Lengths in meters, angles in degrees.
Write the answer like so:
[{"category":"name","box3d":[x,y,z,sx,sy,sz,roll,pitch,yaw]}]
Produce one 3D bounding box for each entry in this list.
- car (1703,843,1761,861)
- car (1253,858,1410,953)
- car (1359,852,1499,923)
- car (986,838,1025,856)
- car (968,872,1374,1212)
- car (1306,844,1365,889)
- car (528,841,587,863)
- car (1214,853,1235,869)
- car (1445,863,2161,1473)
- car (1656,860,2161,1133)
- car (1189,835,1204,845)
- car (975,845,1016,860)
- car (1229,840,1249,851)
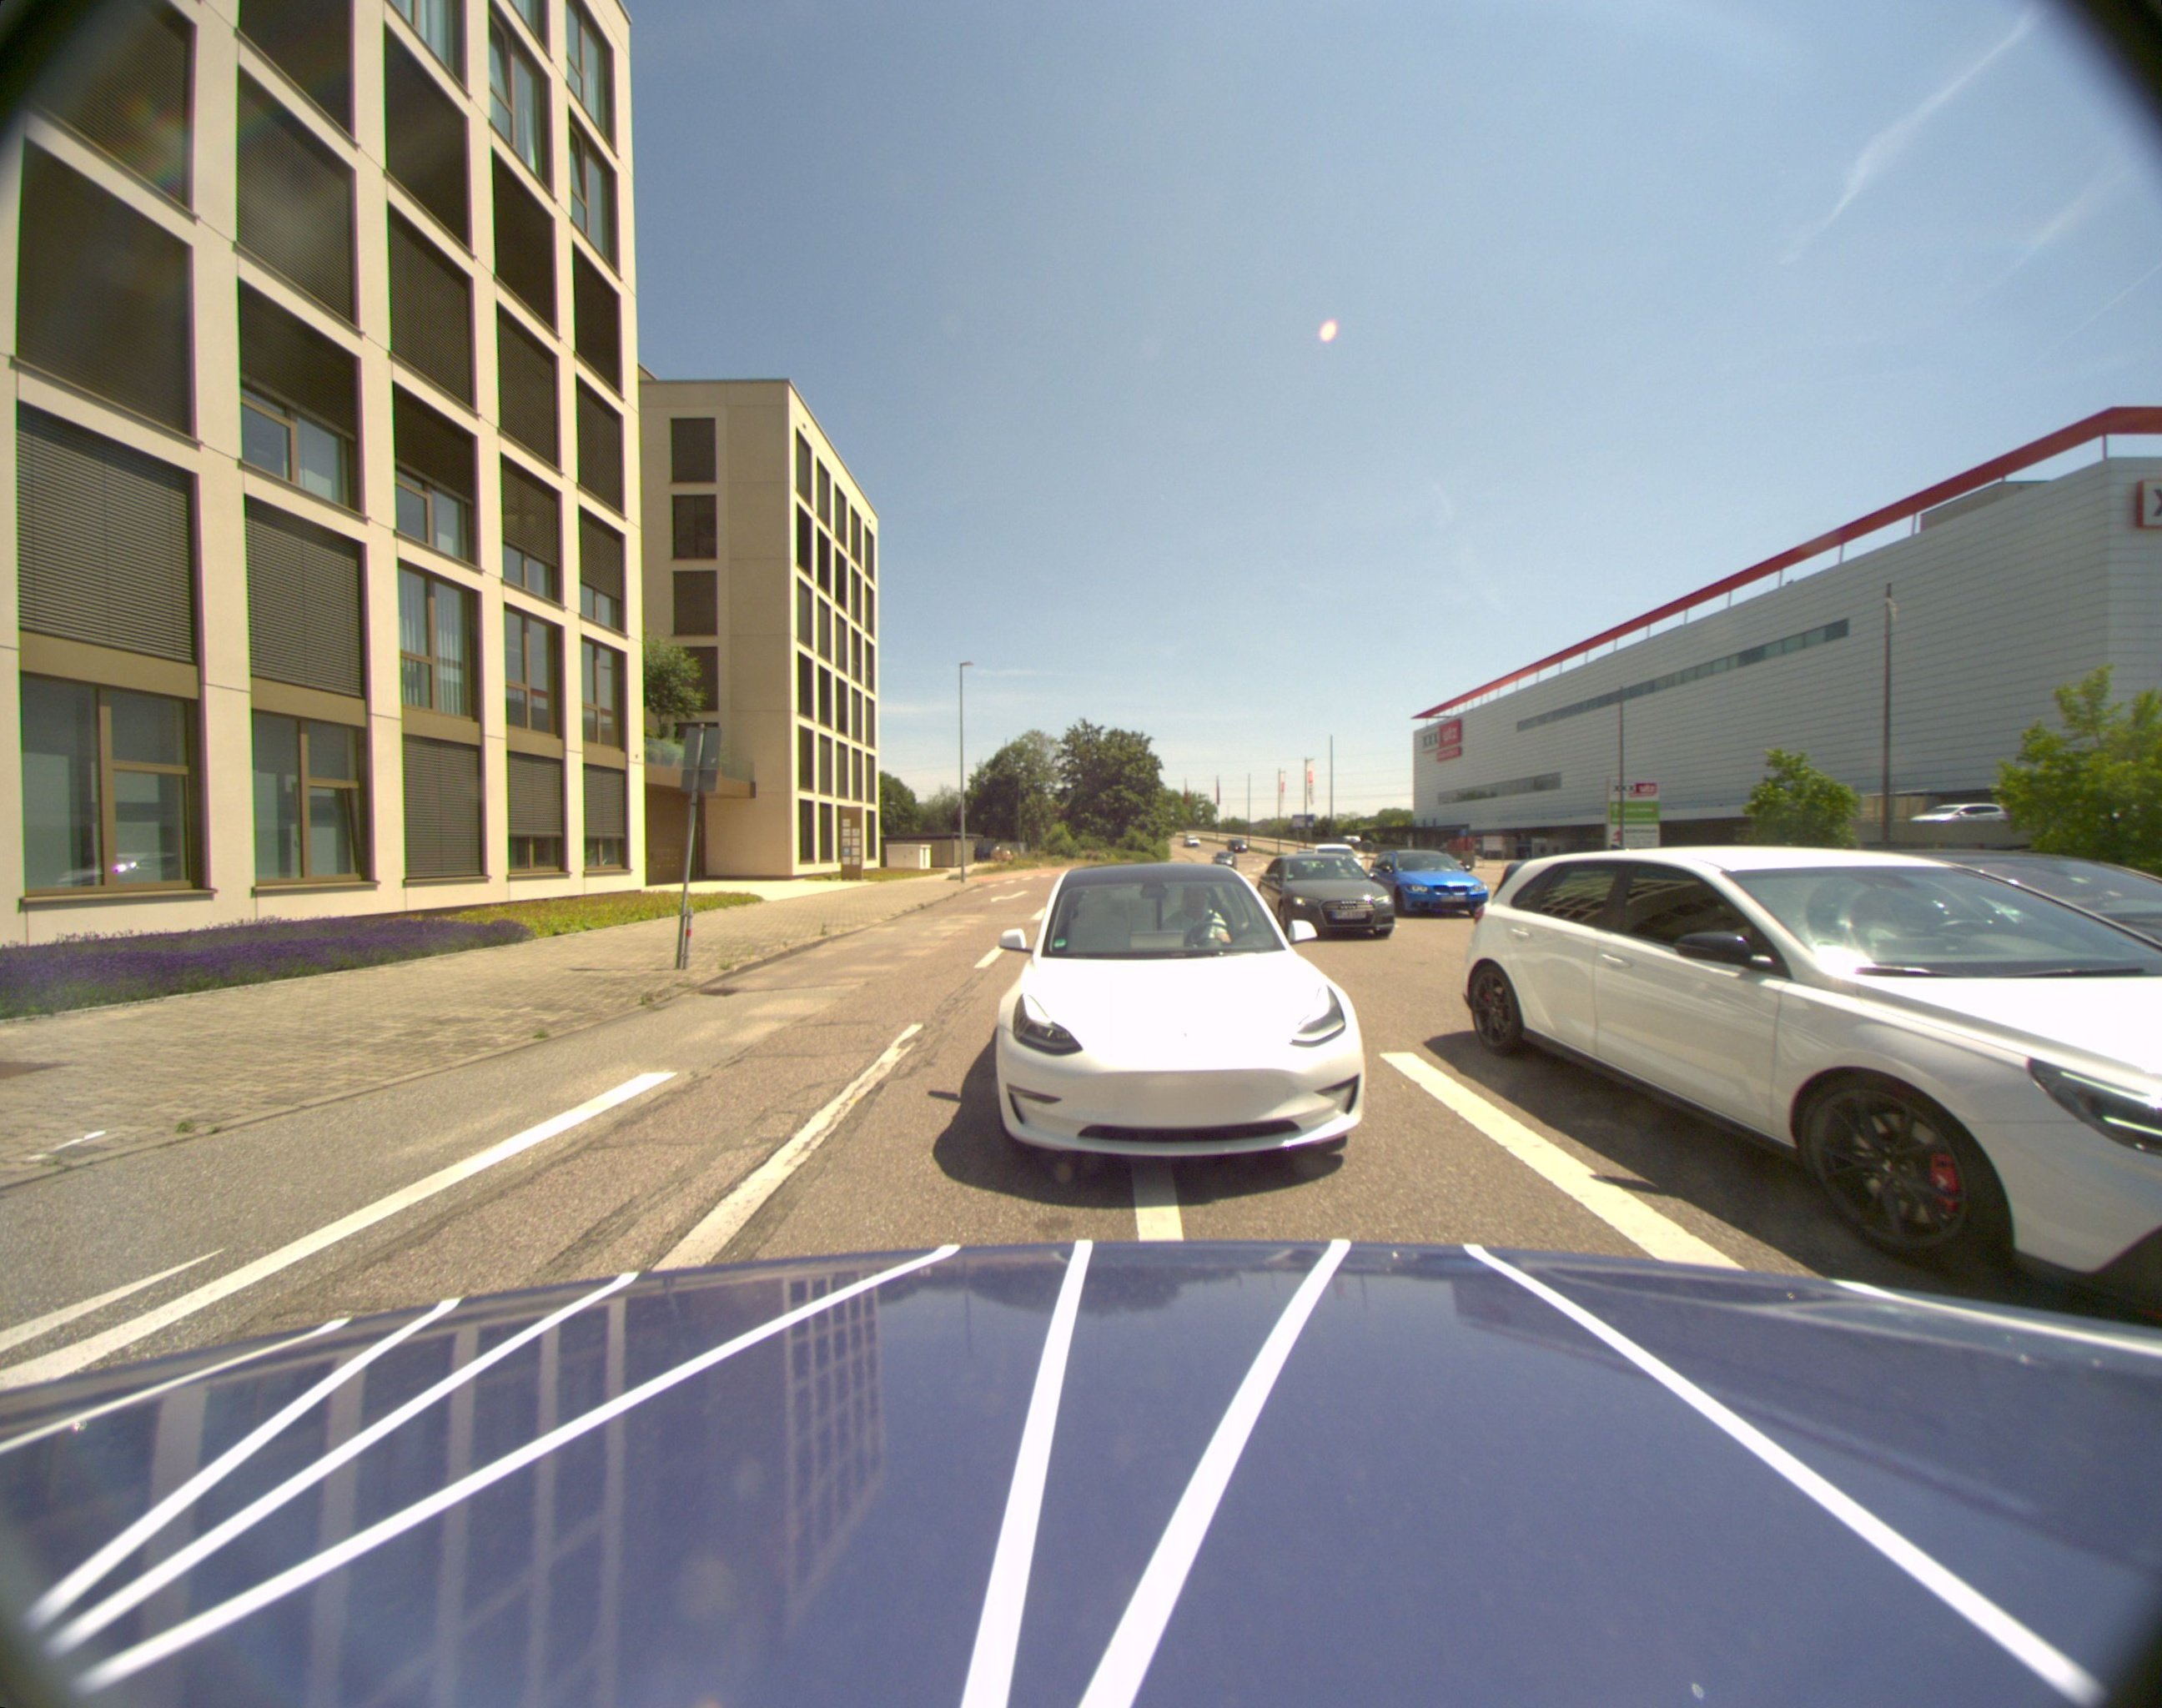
[{"category":"car","box3d":[61.137,-0.186,71.400,3.746,1.611,1.912,0,1,1]},{"category":"car","box3d":[4.288,0.797,13.716,1.801,1.369,4.408,-1,0,6]},{"category":"car","box3d":[7.896,0.678,17.680,1.800,1.405,4.409,-1,0,9]},{"category":"car","box3d":[-8.572,-0.780,86.089,4.005,1.942,1.996,0,1,-24]},{"category":"car","box3d":[0.381,0.933,5.779,1.880,1.417,4.405,-2,0,-1]},{"category":"car","box3d":[9.478,0.415,28.541,1.677,1.566,4.060,-1,1,13]},{"category":"car","box3d":[-46.572,-0.199,67.704,1.997,1.841,4.003,0,1,10]},{"category":"car","box3d":[10.914,0.527,57.738,1.473,1.182,3.356,0,0,12]},{"category":"car","box3d":[3.628,0.824,3.664,1.735,1.441,4.230,-2,0,1]},{"category":"car","box3d":[6.661,0.774,5.474,1.752,1.382,4.534,-1,0,3]},{"category":"car","box3d":[18.646,-2.244,122.692,1.798,1.454,3.998,-3,3,1]},{"category":"car","box3d":[-9.240,-0.169,81.945,4.005,1.652,1.834,0,1,-23]},{"category":"car","box3d":[22.379,-1.262,107.599,1.998,1.347,4.366,0,4,1]}]
